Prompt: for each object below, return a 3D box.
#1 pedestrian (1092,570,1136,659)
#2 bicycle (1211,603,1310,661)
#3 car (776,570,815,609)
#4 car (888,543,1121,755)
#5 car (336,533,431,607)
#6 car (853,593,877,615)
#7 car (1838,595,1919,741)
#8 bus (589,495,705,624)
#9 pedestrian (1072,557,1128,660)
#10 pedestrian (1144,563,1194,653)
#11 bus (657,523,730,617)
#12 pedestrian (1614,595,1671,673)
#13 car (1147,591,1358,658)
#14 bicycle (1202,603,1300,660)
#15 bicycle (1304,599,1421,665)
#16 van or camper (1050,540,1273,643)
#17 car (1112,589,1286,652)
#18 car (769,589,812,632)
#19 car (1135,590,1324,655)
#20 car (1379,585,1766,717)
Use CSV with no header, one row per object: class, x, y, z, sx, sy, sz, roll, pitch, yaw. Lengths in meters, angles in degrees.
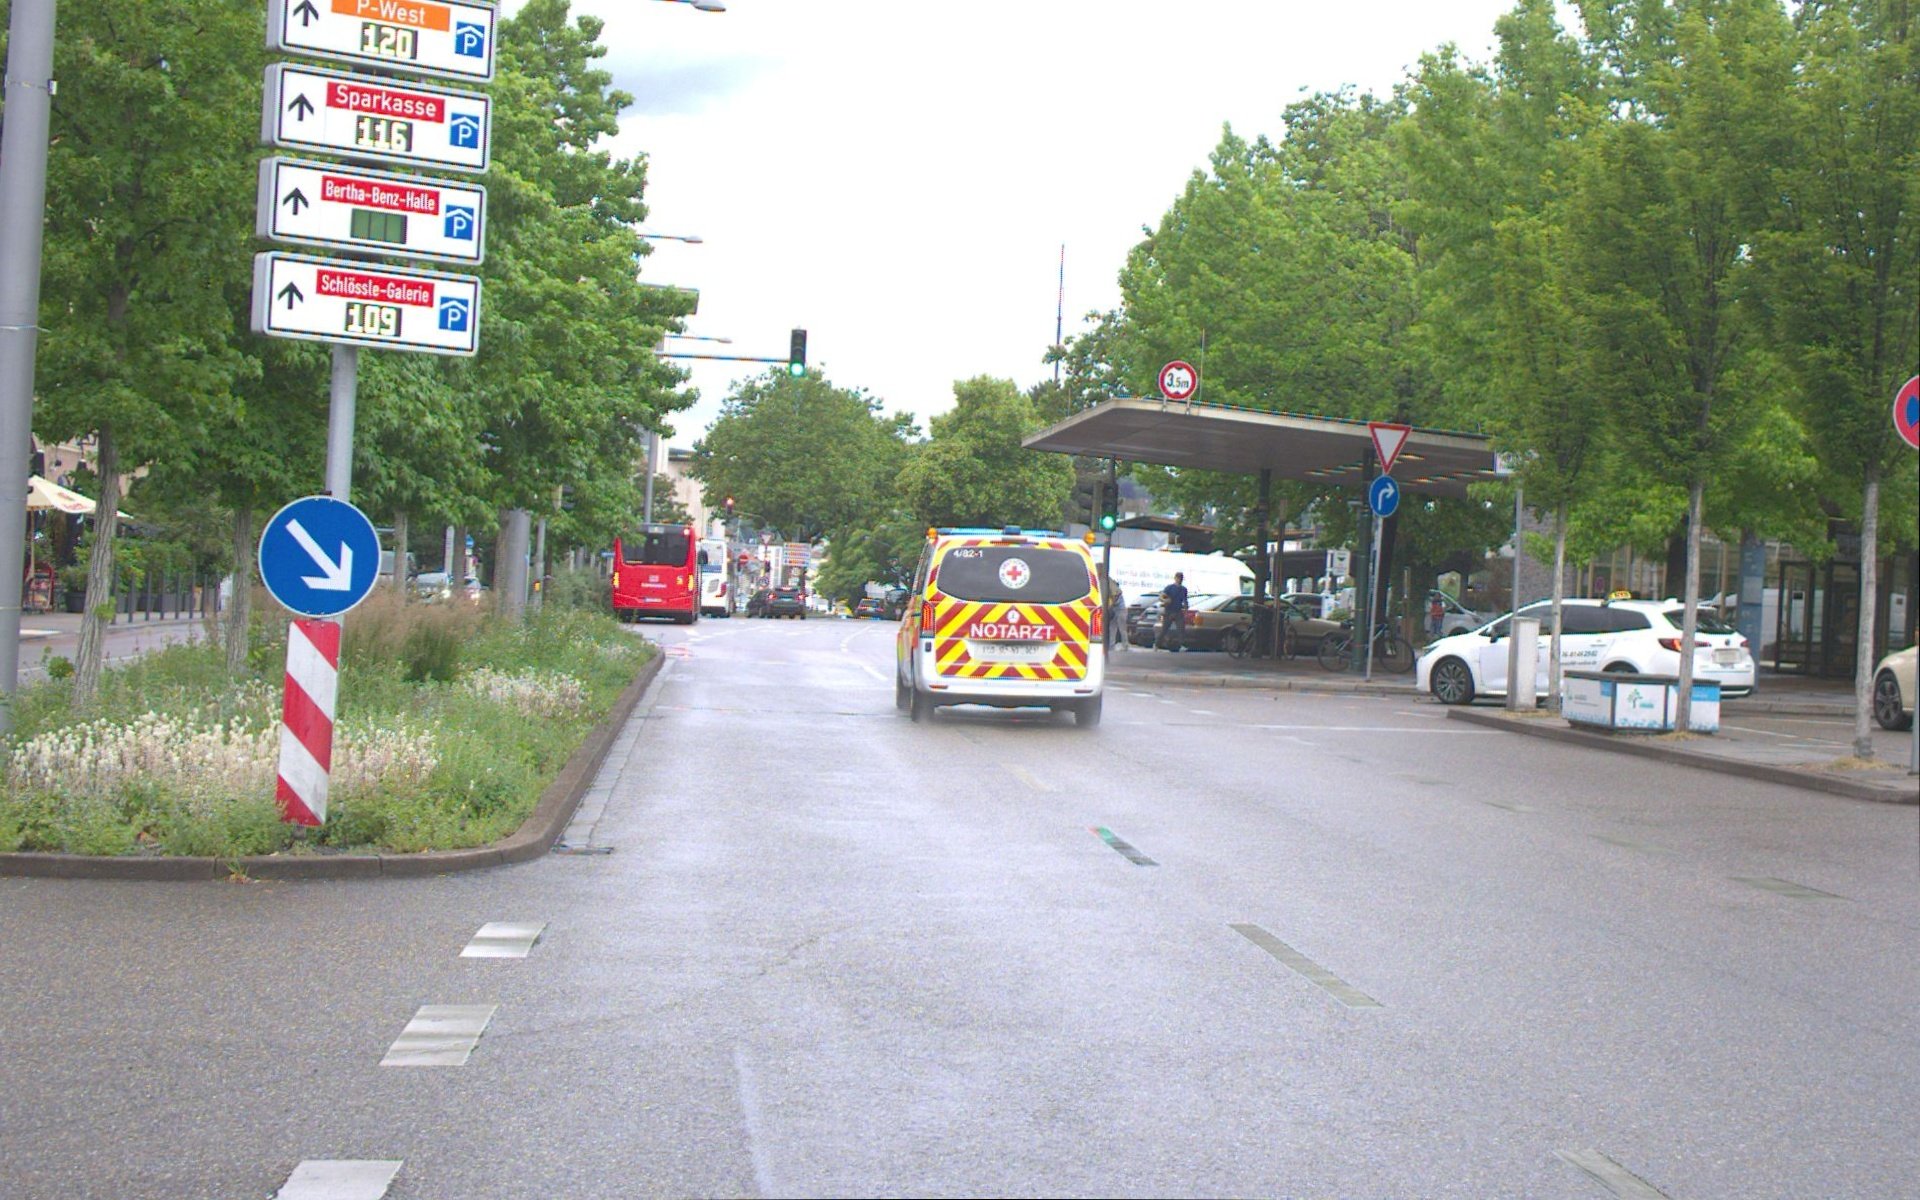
pedestrian,3.488,0.334,78.023,0.831,2.007,0.889,1,0,-8
bicycle,5.623,0.597,64.322,1.827,1.052,0.420,1,0,-21
car,-8.675,-0.550,180.776,1.993,2.007,4.000,1,0,-3
car,0.377,0.470,35.508,1.993,2.007,5.062,1,0,-4
car,-16.374,-0.833,97.866,1.993,2.007,5.001,1,0,-2
car,-6.666,0.289,241.503,1.595,1.555,3.650,1,0,-3
car,11.694,0.782,37.767,1.993,1.594,4.960,1,1,-11
bus,-10.244,-1.256,112.182,3.544,3.966,11.173,1,0,-6
pedestrian,2.423,0.151,59.403,0.746,1.741,0.836,2,-1,-12
pedestrian,4.336,0.165,71.363,0.856,1.829,1.190,1,-1,-4
bus,-11.353,-1.222,145.905,2.805,3.734,10.447,3,0,-5
pedestrian,13.705,0.682,69.077,0.865,1.553,0.814,1,0,-10
car,6.401,0.532,75.169,4.184,1.321,1.840,2,-1,-23
bicycle,5.484,0.595,64.763,1.827,1.052,0.420,1,0,-21
bicycle,6.544,0.522,55.892,1.827,1.052,0.420,1,0,-3
van or camper,5.631,-0.214,95.624,5.946,2.753,2.199,1,0,-30
car,6.078,0.519,87.385,3.986,1.438,1.865,2,-1,-30
car,-8.167,0.508,165.144,1.993,2.007,4.000,1,0,-3
car,6.196,0.525,78.830,3.987,1.354,1.864,2,-1,-34
car,7.805,0.637,44.168,1.759,1.540,4.774,2,0,-43
